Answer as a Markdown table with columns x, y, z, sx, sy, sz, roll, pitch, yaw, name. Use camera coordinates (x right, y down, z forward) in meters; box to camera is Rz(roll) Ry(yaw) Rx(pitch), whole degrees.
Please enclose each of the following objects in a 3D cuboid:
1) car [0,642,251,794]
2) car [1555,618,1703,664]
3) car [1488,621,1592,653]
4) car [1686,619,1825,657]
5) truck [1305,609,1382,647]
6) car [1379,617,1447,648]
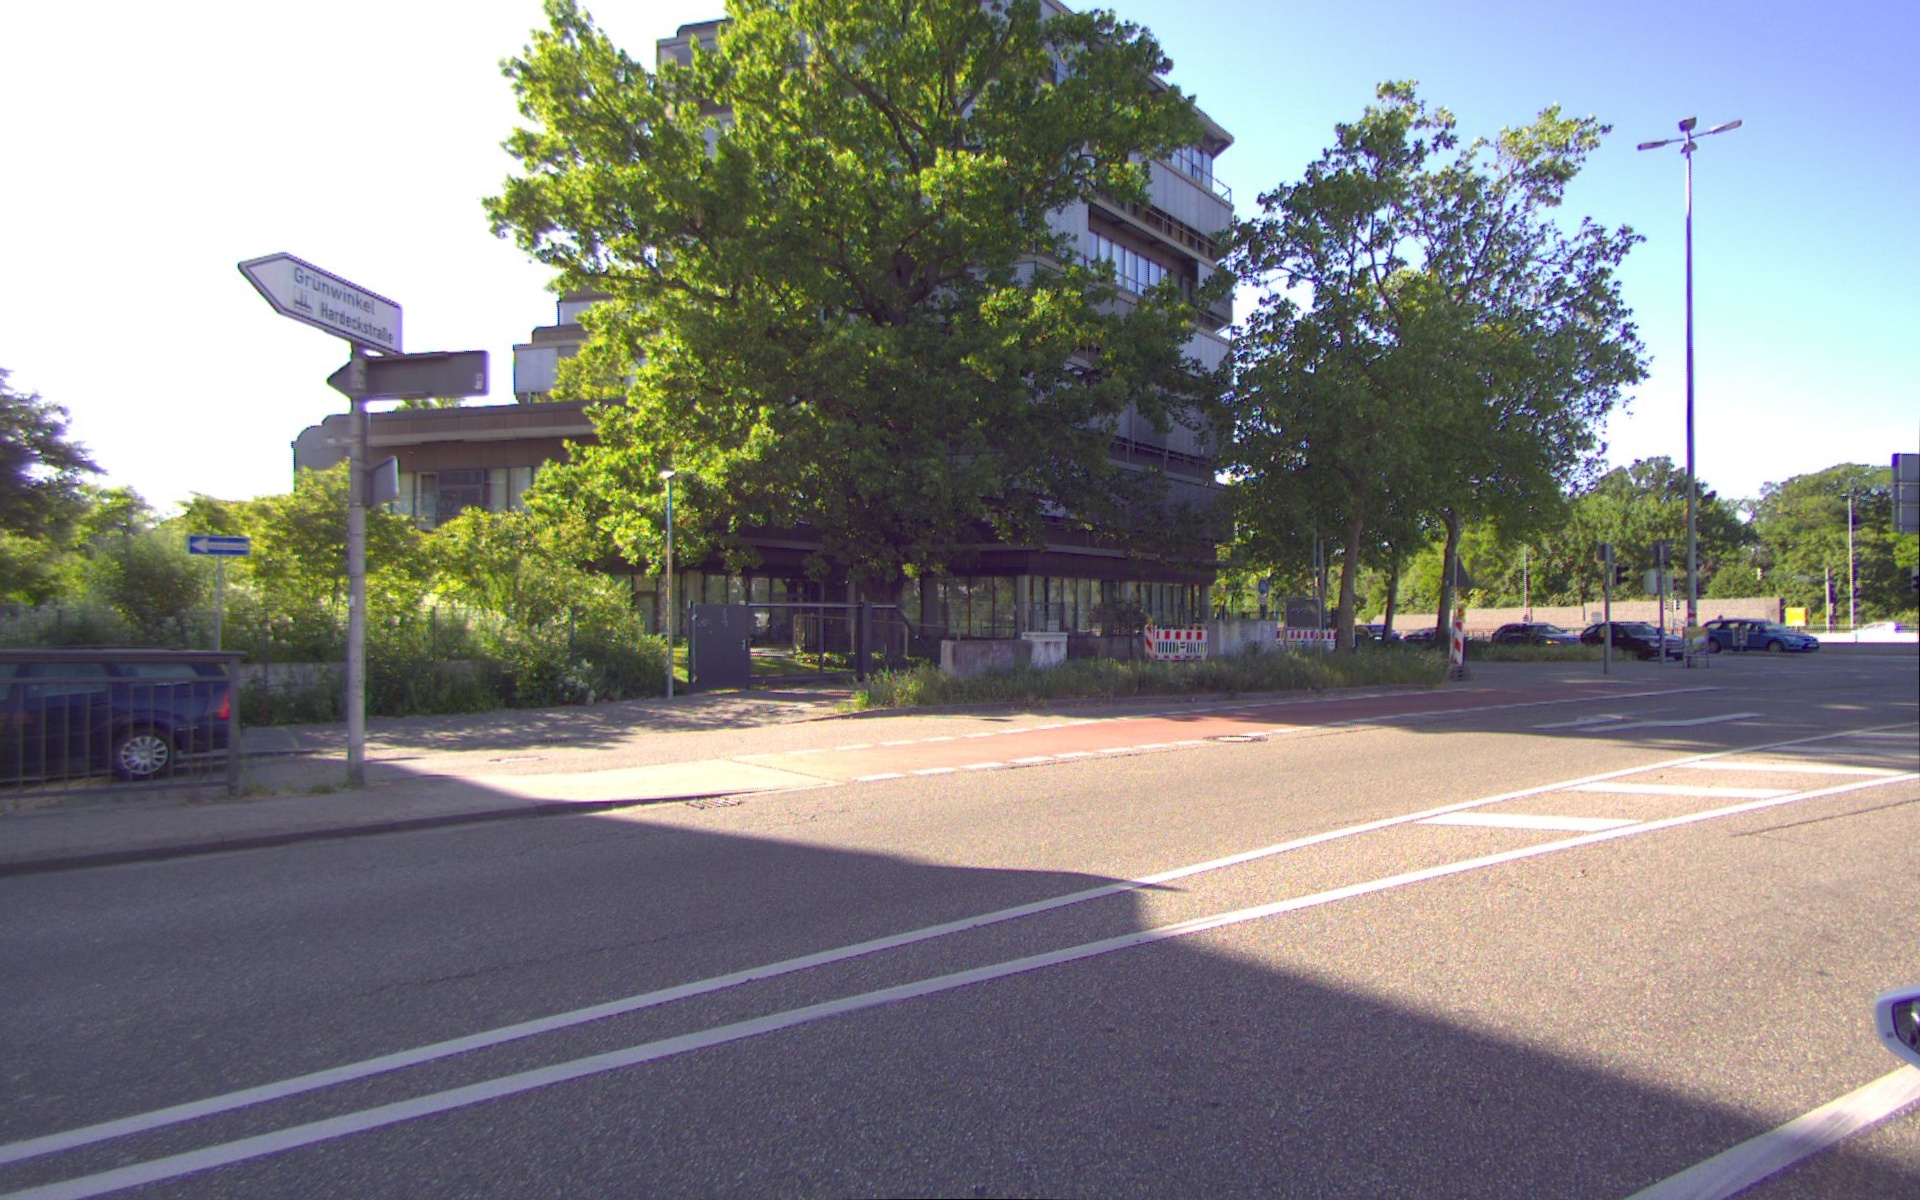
| x | y | z | sx | sy | sz | roll | pitch | yaw | name |
| --- | --- | --- | --- | --- | --- | --- | --- | --- | --- |
| -10.681 | 1.334 | 11.323 | 4.339 | 1.528 | 1.642 | -1 | -3 | -38 | car |
| 25.822 | 1.528 | 38.988 | 1.918 | 1.643 | 4.773 | 0 | -1 | -13 | car |
| 26.106 | 1.629 | 45.396 | 1.844 | 1.376 | 4.507 | 0 | -1 | -4 | car |
| 34.343 | 1.607 | 43.510 | 1.919 | 1.561 | 4.443 | 0 | -1 | -16 | car |
| 25.314 | 1.830 | 66.689 | 2.121 | 2.391 | 7.515 | 0 | -1 | -1 | truck |
| 26.084 | 1.849 | 57.988 | 1.843 | 1.666 | 4.509 | 0 | -1 | -1 | car |
